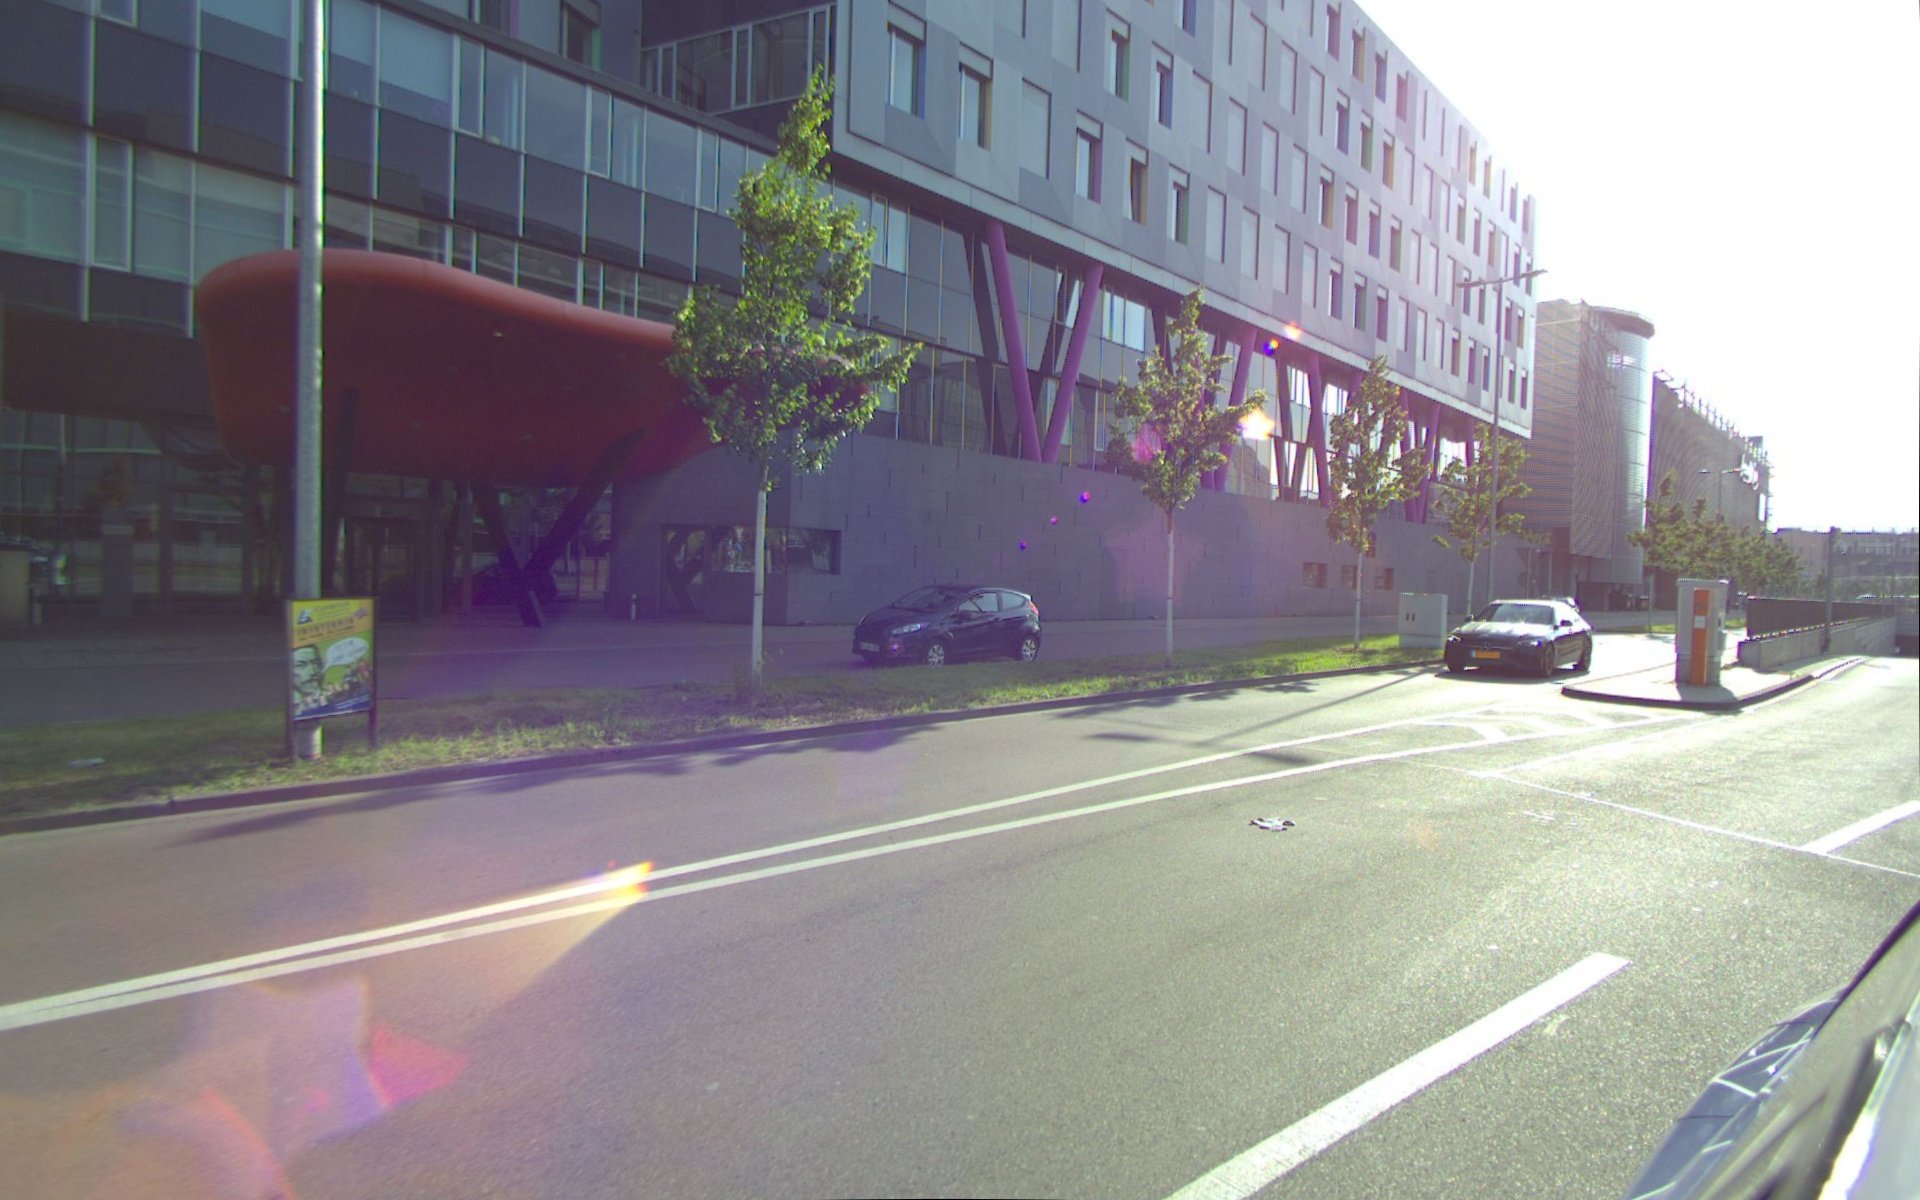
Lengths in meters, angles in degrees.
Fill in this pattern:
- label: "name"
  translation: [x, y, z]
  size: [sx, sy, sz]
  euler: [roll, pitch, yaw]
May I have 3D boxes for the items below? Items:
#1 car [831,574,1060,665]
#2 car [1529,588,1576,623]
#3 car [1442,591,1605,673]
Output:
- label: "car"
  translation: [-0.155, 0.289, 18.115]
  size: [1.692, 1.407, 4.133]
  euler: [3, 2, 43]
- label: "car"
  translation: [28.782, 0.227, 49.224]
  size: [1.880, 1.443, 4.428]
  euler: [1, 3, 30]
- label: "car"
  translation: [11.562, 0.564, 20.628]
  size: [1.839, 1.468, 4.484]
  euler: [1, 1, 43]
